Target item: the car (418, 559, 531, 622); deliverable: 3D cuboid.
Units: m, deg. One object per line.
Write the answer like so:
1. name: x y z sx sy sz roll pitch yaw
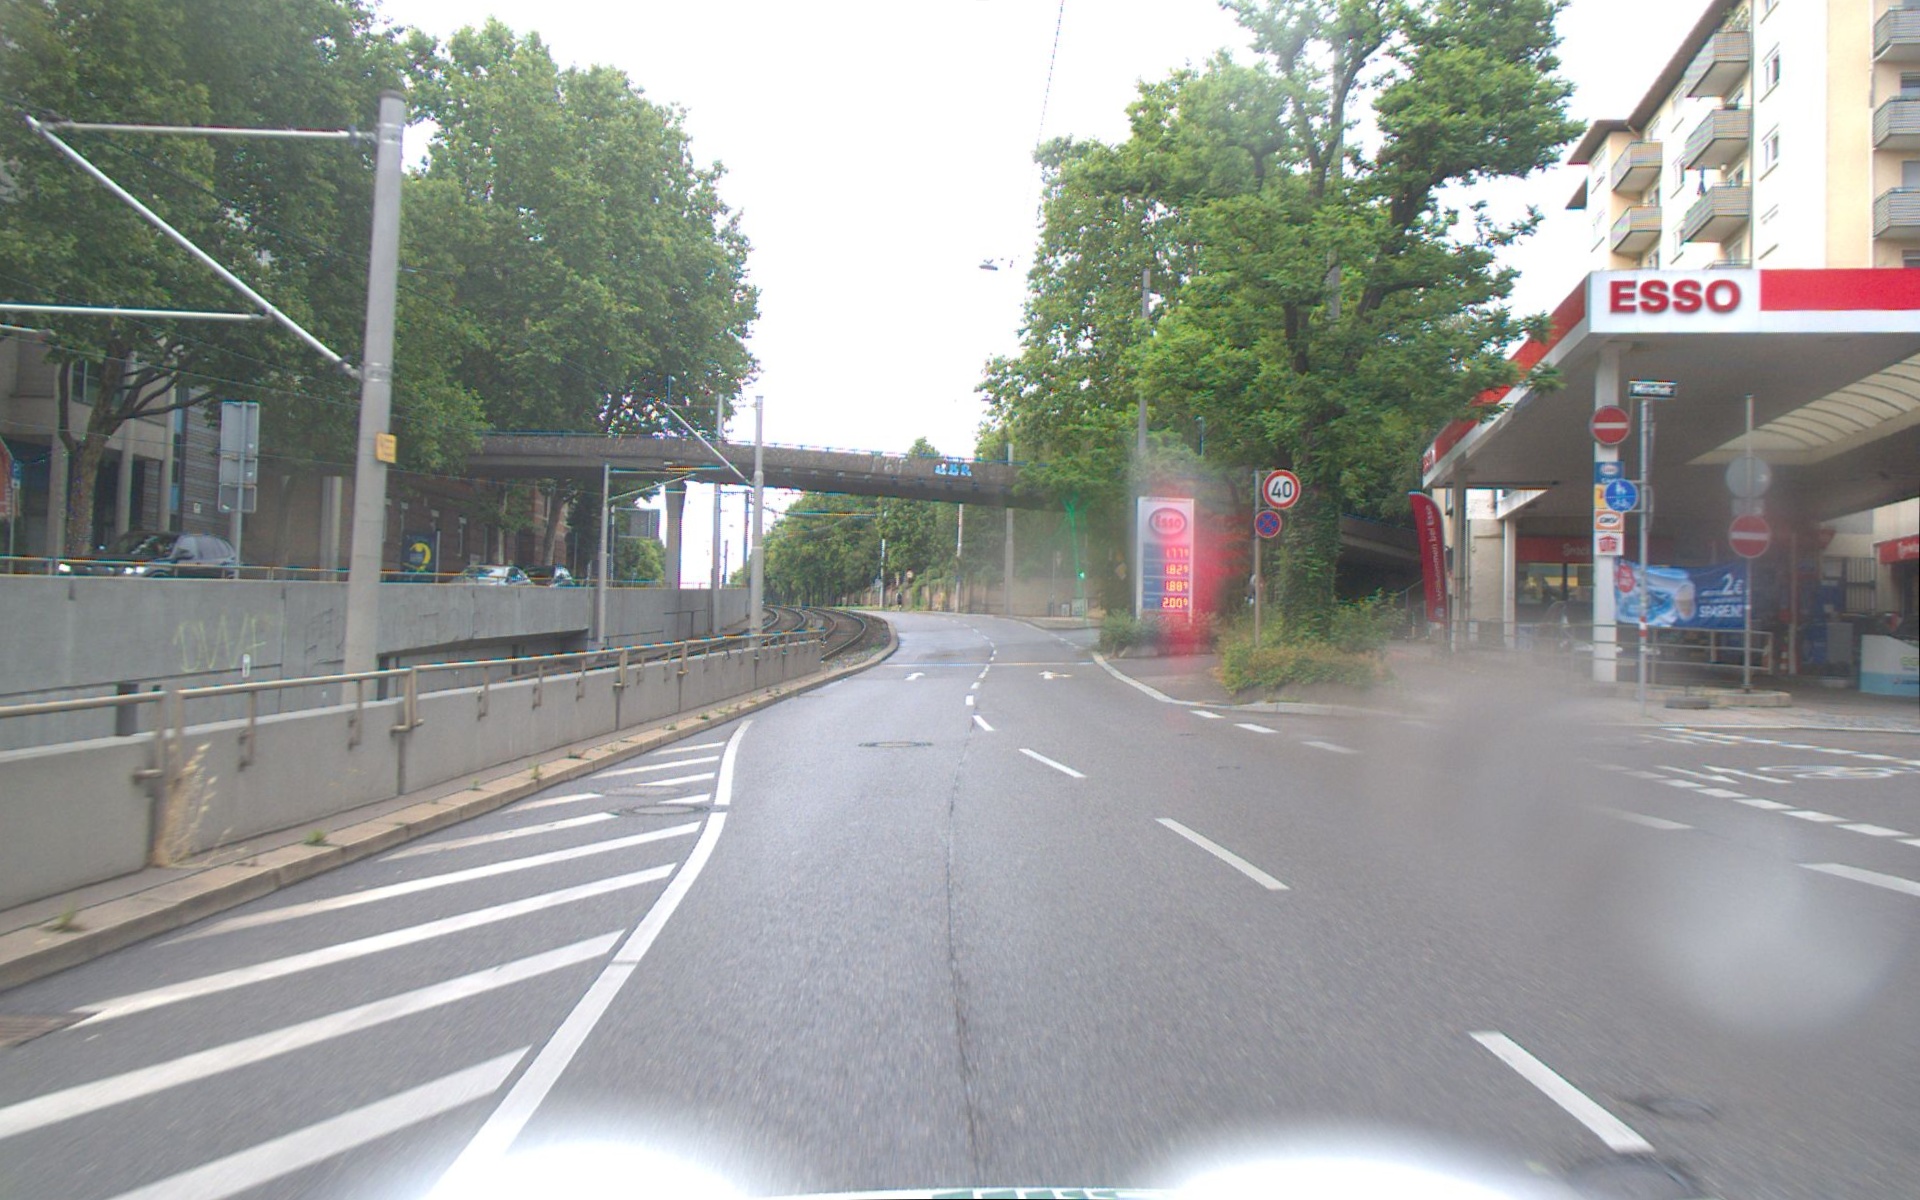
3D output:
1. car: -13.251 -0.254 45.378 1.757 1.536 4.001 3 0 2

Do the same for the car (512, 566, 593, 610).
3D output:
1. car: -15.457 -0.448 62.962 1.757 1.536 4.110 3 0 4

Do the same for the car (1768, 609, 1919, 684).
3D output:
1. car: 20.460 1.077 38.485 1.756 1.536 4.234 3 -1 9

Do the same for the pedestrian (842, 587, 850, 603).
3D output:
1. pedestrian: -12.027 -0.508 174.977 0.707 1.717 0.727 3 -1 -10

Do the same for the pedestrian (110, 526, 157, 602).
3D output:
1. pedestrian: -22.883 -0.986 45.802 0.655 2.049 0.935 3 -1 5

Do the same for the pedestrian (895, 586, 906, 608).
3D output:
1. pedestrian: -5.145 -0.252 143.134 0.707 1.882 0.781 3 -1 -10

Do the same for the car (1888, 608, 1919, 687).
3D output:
1. car: 19.543 0.957 31.643 1.756 1.536 4.003 3 -1 9

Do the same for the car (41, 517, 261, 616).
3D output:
1. car: -17.288 -0.666 35.669 1.915 1.885 4.970 3 0 4

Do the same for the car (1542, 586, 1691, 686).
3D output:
1. car: 11.485 0.628 29.170 1.734 1.652 3.869 -1 -1 11
